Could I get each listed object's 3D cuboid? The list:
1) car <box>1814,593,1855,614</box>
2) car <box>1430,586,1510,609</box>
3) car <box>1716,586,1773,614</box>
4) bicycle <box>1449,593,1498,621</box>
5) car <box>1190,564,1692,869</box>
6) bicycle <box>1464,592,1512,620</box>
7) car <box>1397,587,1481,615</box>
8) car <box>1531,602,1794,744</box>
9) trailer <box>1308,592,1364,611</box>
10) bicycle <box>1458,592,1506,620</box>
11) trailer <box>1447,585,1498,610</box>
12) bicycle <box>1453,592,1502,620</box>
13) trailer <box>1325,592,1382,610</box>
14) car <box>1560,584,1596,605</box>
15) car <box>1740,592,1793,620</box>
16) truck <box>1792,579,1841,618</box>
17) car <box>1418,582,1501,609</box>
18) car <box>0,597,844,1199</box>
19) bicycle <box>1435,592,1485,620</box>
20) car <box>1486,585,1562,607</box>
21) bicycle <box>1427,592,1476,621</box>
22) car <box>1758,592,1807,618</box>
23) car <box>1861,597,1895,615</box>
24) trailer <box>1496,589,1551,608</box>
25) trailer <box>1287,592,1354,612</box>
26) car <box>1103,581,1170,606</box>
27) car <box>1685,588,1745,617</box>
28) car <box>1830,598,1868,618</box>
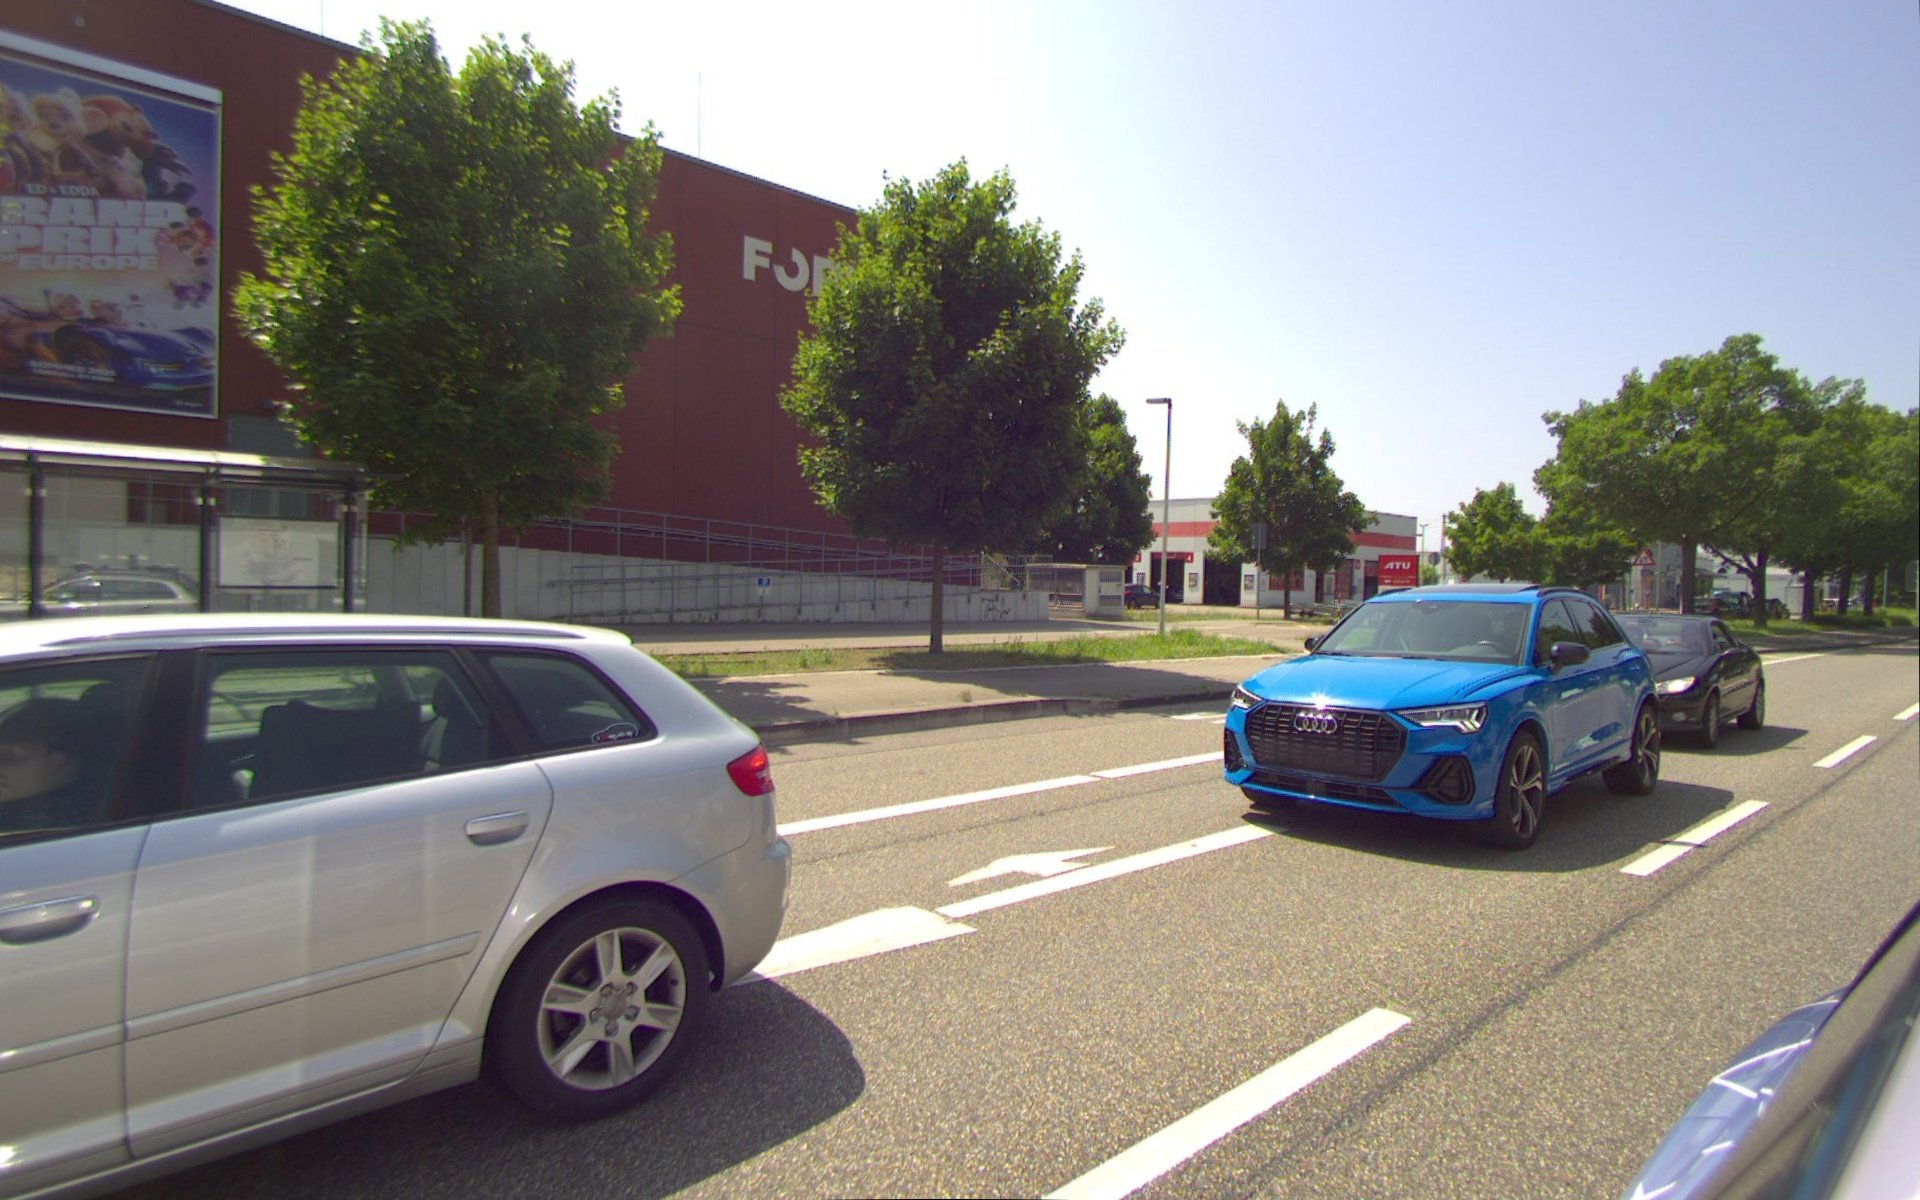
[{"bbox_3d":[64.690,0.278,74.854,3.930,1.485,1.719,0,2,-41],"label":"car"},{"bbox_3d":[30.642,-0.166,60.872,1.718,1.223,3.991,0,2,-44],"label":"car"},{"bbox_3d":[43.444,-0.008,56.000,3.930,1.485,1.719,0,2,-41],"label":"car"},{"bbox_3d":[21.867,0.283,43.112,1.779,1.138,0.506,3,1,43],"label":"bicycle"},{"bbox_3d":[3.754,0.600,7.511,4.324,1.616,1.840,0,1,-42],"label":"car"},{"bbox_3d":[23.330,0.254,44.714,1.779,1.138,0.506,3,1,43],"label":"bicycle"},{"bbox_3d":[27.329,0.021,57.790,1.718,1.419,3.992,0,2,-43],"label":"car"},{"bbox_3d":[8.176,0.707,11.653,3.931,1.361,1.640,0,-1,-42],"label":"car"},{"bbox_3d":[17.510,0.061,47.157,1.244,0.771,2.137,0,2,-39],"label":"trailer"},{"bbox_3d":[22.743,0.262,44.143,1.779,1.138,0.506,3,1,43],"label":"bicycle"},{"bbox_3d":[33.069,-0.185,65.303,1.391,1.546,2.638,1,2,-43],"label":"trailer"},{"bbox_3d":[22.276,0.243,43.603,1.779,1.138,0.506,3,1,43],"label":"bicycle"},{"bbox_3d":[18.783,0.037,48.292,1.369,0.771,2.137,0,2,-39],"label":"trailer"},{"bbox_3d":[48.310,-0.430,79.103,1.753,1.616,3.940,2,2,42],"label":"car"},{"bbox_3d":[47.282,0.360,59.322,3.930,1.539,1.719,0,2,-41],"label":"car"},{"bbox_3d":[60.277,-0.097,71.204,3.929,2.599,1.904,1,1,-40],"label":"truck"},{"bbox_3d":[29.121,-0.276,59.073,1.718,1.419,3.991,0,2,-44],"label":"car"},{"bbox_3d":[-2.433,0.684,2.654,4.022,1.379,1.714,0,0,-43],"label":"car"},{"bbox_3d":[21.145,0.248,42.830,1.779,1.138,0.506,3,1,43],"label":"bicycle"},{"bbox_3d":[36.360,-0.259,65.298,1.662,1.317,3.991,0,2,-44],"label":"car"},{"bbox_3d":[20.631,0.261,42.484,1.779,1.138,0.506,3,1,43],"label":"bicycle"},{"bbox_3d":[51.658,0.334,63.539,3.930,1.532,1.719,0,2,-41],"label":"car"},{"bbox_3d":[79.959,0.546,88.128,3.930,1.485,1.719,0,2,-41],"label":"car"},{"bbox_3d":[35.158,-0.109,63.169,1.552,1.065,2.638,0,2,-43],"label":"trailer"},{"bbox_3d":[16.292,0.084,45.787,1.423,0.771,2.467,0,2,-39],"label":"trailer"},{"bbox_3d":[10.440,-0.356,59.647,4.074,1.390,1.716,0,2,-42],"label":"car"},{"bbox_3d":[38.820,0.131,51.986,3.930,1.388,1.641,0,2,-41],"label":"car"},{"bbox_3d":[69.714,0.610,79.317,3.930,1.485,1.719,0,2,-41],"label":"car"}]
